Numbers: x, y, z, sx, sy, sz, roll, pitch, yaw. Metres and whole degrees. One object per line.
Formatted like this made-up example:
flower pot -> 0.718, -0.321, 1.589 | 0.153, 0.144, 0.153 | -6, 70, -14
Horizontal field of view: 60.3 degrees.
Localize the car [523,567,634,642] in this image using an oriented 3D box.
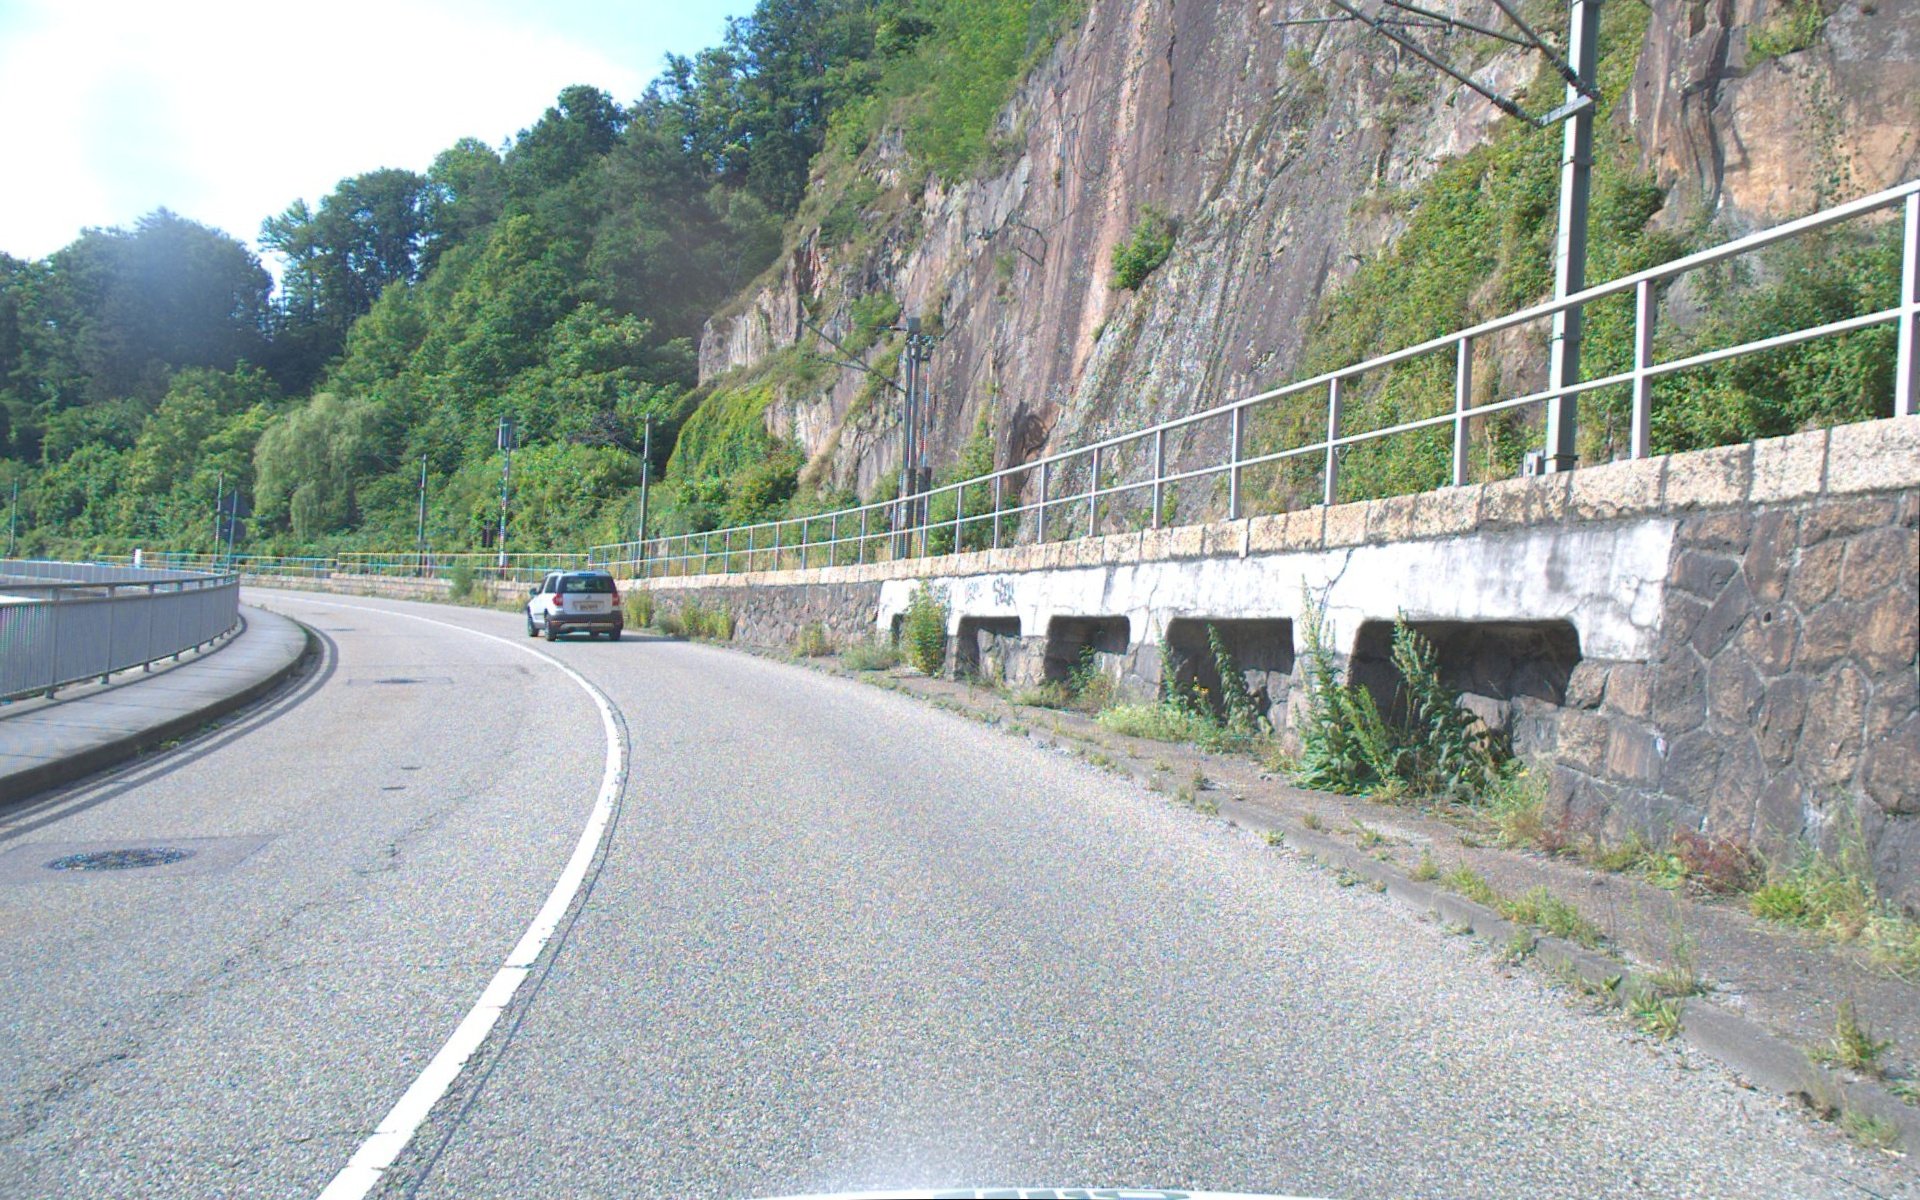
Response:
car -> -9.305, 0.078, 40.140 | 1.849, 1.684, 3.969 | 1, 1, -25
